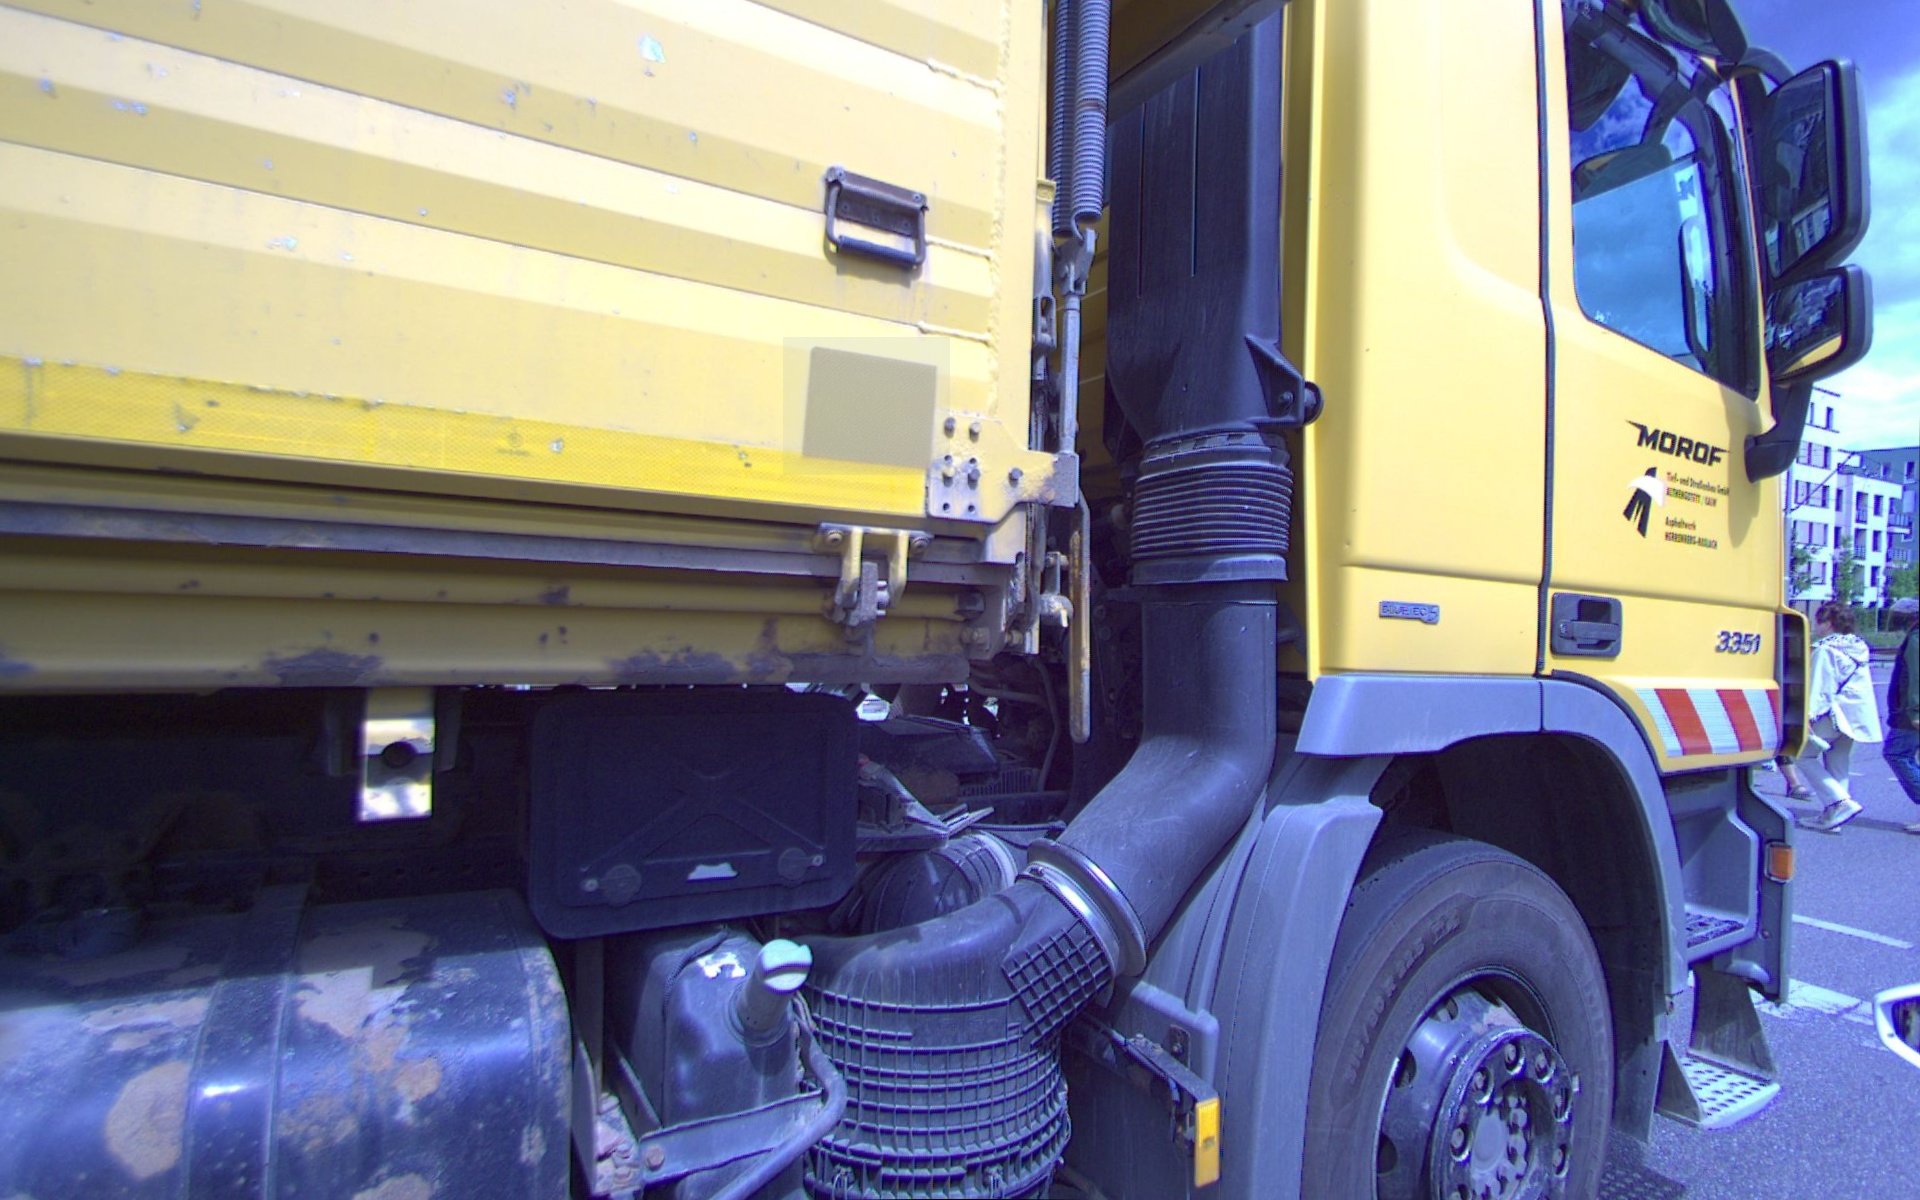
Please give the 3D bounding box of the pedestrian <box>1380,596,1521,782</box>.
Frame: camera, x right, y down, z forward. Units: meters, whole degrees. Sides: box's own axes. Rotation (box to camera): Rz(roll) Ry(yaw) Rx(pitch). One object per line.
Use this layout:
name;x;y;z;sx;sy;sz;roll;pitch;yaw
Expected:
pedestrian;4.430;0.759;9.103;0.737;1.575;0.877;1;0;-29

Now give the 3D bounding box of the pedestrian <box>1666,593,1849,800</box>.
pedestrian;6.737;0.763;8.503;0.917;1.628;0.909;1;0;-28

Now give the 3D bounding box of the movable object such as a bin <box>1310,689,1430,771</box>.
movable object such as a bin;4.012;1.252;9.849;0.768;0.671;0.792;1;0;-29

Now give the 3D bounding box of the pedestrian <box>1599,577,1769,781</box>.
pedestrian;6.818;0.697;9.485;0.918;1.796;0.998;1;0;-29

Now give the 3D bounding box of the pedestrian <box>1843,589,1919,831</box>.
pedestrian;6.927;0.761;7.032;0.755;1.656;0.866;1;0;-24

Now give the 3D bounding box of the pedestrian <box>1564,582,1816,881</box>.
pedestrian;4.491;0.737;6.221;0.868;1.670;0.955;1;0;-25

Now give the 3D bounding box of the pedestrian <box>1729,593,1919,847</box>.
pedestrian;6.117;0.789;7.111;0.723;1.662;0.820;1;0;-25

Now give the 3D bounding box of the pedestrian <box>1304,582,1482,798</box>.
pedestrian;3.616;0.698;8.430;0.918;1.670;1.016;1;0;-29

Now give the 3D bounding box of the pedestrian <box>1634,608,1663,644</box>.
pedestrian;29.801;1.116;43.487;0.628;1.536;0.827;1;0;-30

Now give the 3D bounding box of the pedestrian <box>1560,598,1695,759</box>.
pedestrian;7.136;0.801;10.752;0.897;1.618;0.888;1;0;-30

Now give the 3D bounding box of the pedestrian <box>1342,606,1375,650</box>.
pedestrian;16.018;1.116;40.429;1.079;1.698;0.926;1;0;13

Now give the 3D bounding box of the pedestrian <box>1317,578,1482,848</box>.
pedestrian;2.999;0.714;6.854;0.813;1.693;0.729;1;-1;44

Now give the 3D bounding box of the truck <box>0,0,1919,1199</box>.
truck;-1.726;-0.233;1.658;7.916;3.439;3.033;1;0;-32
